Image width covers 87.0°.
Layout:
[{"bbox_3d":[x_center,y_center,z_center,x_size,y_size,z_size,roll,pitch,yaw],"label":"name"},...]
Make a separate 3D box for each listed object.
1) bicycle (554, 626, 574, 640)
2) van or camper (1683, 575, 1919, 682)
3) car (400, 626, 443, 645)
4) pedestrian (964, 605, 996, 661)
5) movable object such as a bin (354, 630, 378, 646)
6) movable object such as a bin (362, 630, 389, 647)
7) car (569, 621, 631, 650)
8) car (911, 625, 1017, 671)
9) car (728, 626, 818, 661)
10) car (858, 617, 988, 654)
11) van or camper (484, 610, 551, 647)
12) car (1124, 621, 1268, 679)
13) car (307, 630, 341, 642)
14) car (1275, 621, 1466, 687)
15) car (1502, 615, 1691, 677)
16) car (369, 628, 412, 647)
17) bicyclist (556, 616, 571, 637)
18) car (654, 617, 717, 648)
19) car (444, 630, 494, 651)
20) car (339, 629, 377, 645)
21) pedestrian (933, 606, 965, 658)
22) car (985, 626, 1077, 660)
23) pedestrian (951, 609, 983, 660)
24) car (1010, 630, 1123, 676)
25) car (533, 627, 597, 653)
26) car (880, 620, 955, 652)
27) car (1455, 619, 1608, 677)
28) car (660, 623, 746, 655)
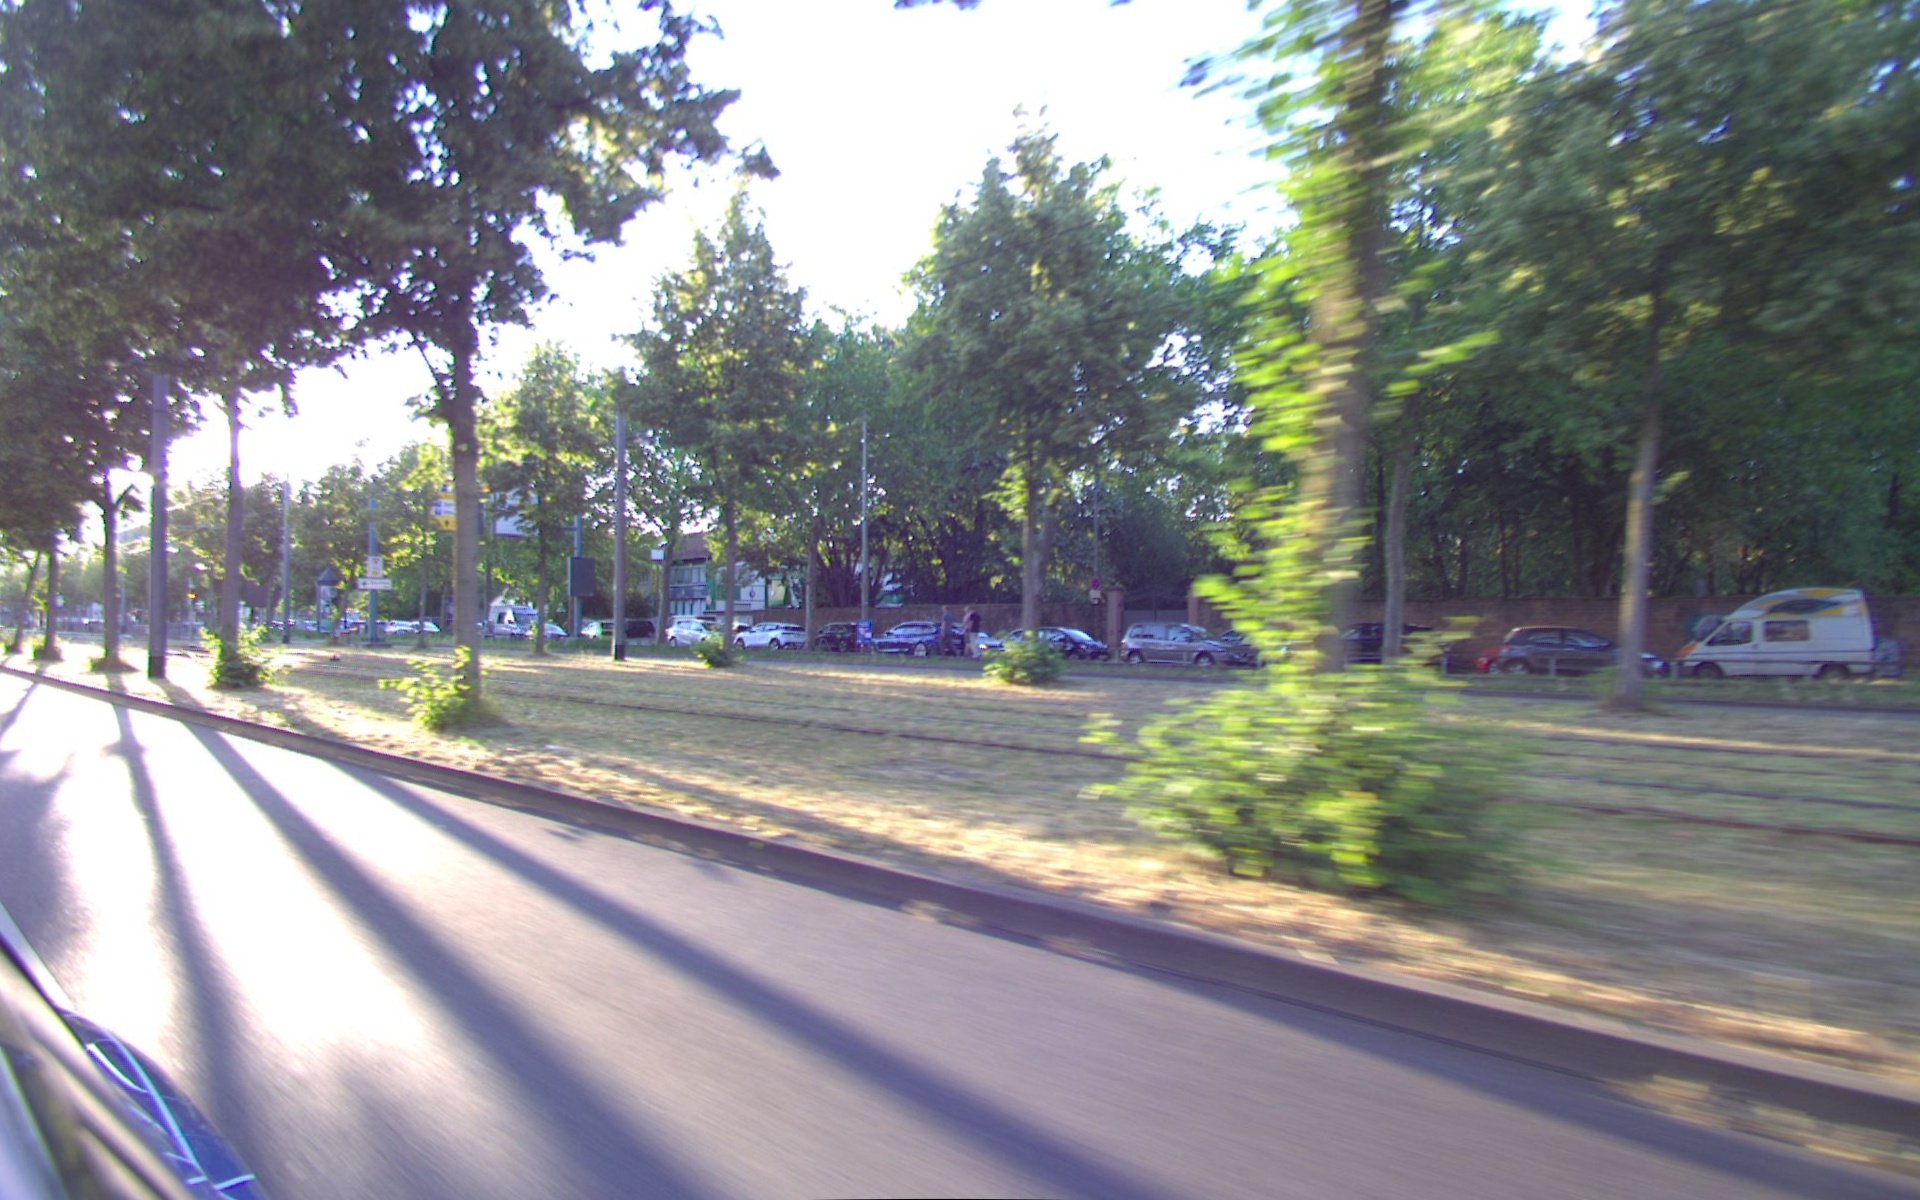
[{"bbox_3d":[-30.693,2.538,78.435,0.722,1.099,2.018,1,-2,-44],"label":"bicycle"},{"bbox_3d":[23.711,0.793,28.328,5.489,2.756,2.064,-1,-2,39],"label":"van or camper"},{"bbox_3d":[-43.366,2.854,81.447,4.053,1.543,1.790,-2,-2,42],"label":"car"},{"bbox_3d":[0.687,1.128,34.617,0.864,1.884,0.687,-1,-2,33],"label":"pedestrian"},{"bbox_3d":[-53.023,3.371,90.333,1.701,1.422,1.393,-2,-2,42],"label":"movable object such as a bin"},{"bbox_3d":[-50.961,3.345,88.247,1.724,1.383,1.536,-2,-2,42],"label":"movable object such as a bin"},{"bbox_3d":[-20.899,2.043,58.690,1.969,1.652,4.005,1,-2,-42],"label":"car"},{"bbox_3d":[0.125,1.914,41.406,1.970,1.763,4.163,1,-2,-44],"label":"car"},{"bbox_3d":[-8.674,1.984,46.777,4.305,1.511,1.880,-2,-2,42],"label":"car"},{"bbox_3d":[-1.504,1.354,39.255,5.140,1.325,1.972,-2,-2,42],"label":"car"},{"bbox_3d":[-30.132,1.933,68.792,2.258,2.383,5.786,1,-2,-45],"label":"van or camper"},{"bbox_3d":[7.628,1.569,32.979,1.970,1.763,4.163,1,-2,-44],"label":"car"},{"bbox_3d":[-64.707,3.679,102.919,4.088,1.210,1.972,-2,-2,42],"label":"car"},{"bbox_3d":[11.901,1.518,29.522,4.787,1.763,1.973,-2,-2,40],"label":"car"},{"bbox_3d":[16.396,1.158,26.185,3.991,1.497,1.976,-1,-2,35],"label":"car"},{"bbox_3d":[-48.166,3.168,85.595,4.298,1.512,1.972,-2,-2,42],"label":"car"},{"bbox_3d":[-30.713,2.051,78.435,0.720,1.545,1.086,1,-2,-44],"label":"bicyclist"},{"bbox_3d":[-19.013,2.250,69.990,5.060,2.029,1.971,-2,-2,44],"label":"car"},{"bbox_3d":[-36.808,3.027,75.813,4.097,1.512,1.972,-2,-2,42],"label":"car"},{"bbox_3d":[-56.107,3.465,94.231,3.999,1.459,1.972,-2,-2,42],"label":"car"},{"bbox_3d":[-0.385,1.083,34.656,0.865,1.756,0.686,-2,-2,39],"label":"pedestrian"},{"bbox_3d":[3.263,1.964,46.911,1.969,1.497,4.004,1,-2,-42],"label":"car"},{"bbox_3d":[0.244,1.209,35.553,0.864,1.772,0.687,-1,-2,33],"label":"pedestrian"},{"bbox_3d":[3.852,1.890,37.012,1.782,1.572,3.841,1,-2,-44],"label":"car"},{"bbox_3d":[-25.253,2.544,64.659,4.205,1.649,1.974,-2,-2,39],"label":"car"},{"bbox_3d":[-2.258,1.861,52.947,3.839,1.608,1.746,-2,-2,44],"label":"car"},{"bbox_3d":[18.503,1.506,32.841,3.997,1.763,1.973,-2,-2,40],"label":"car"},{"bbox_3d":[-12.882,1.928,50.555,4.555,1.510,1.972,-2,-2,42],"label":"car"}]
